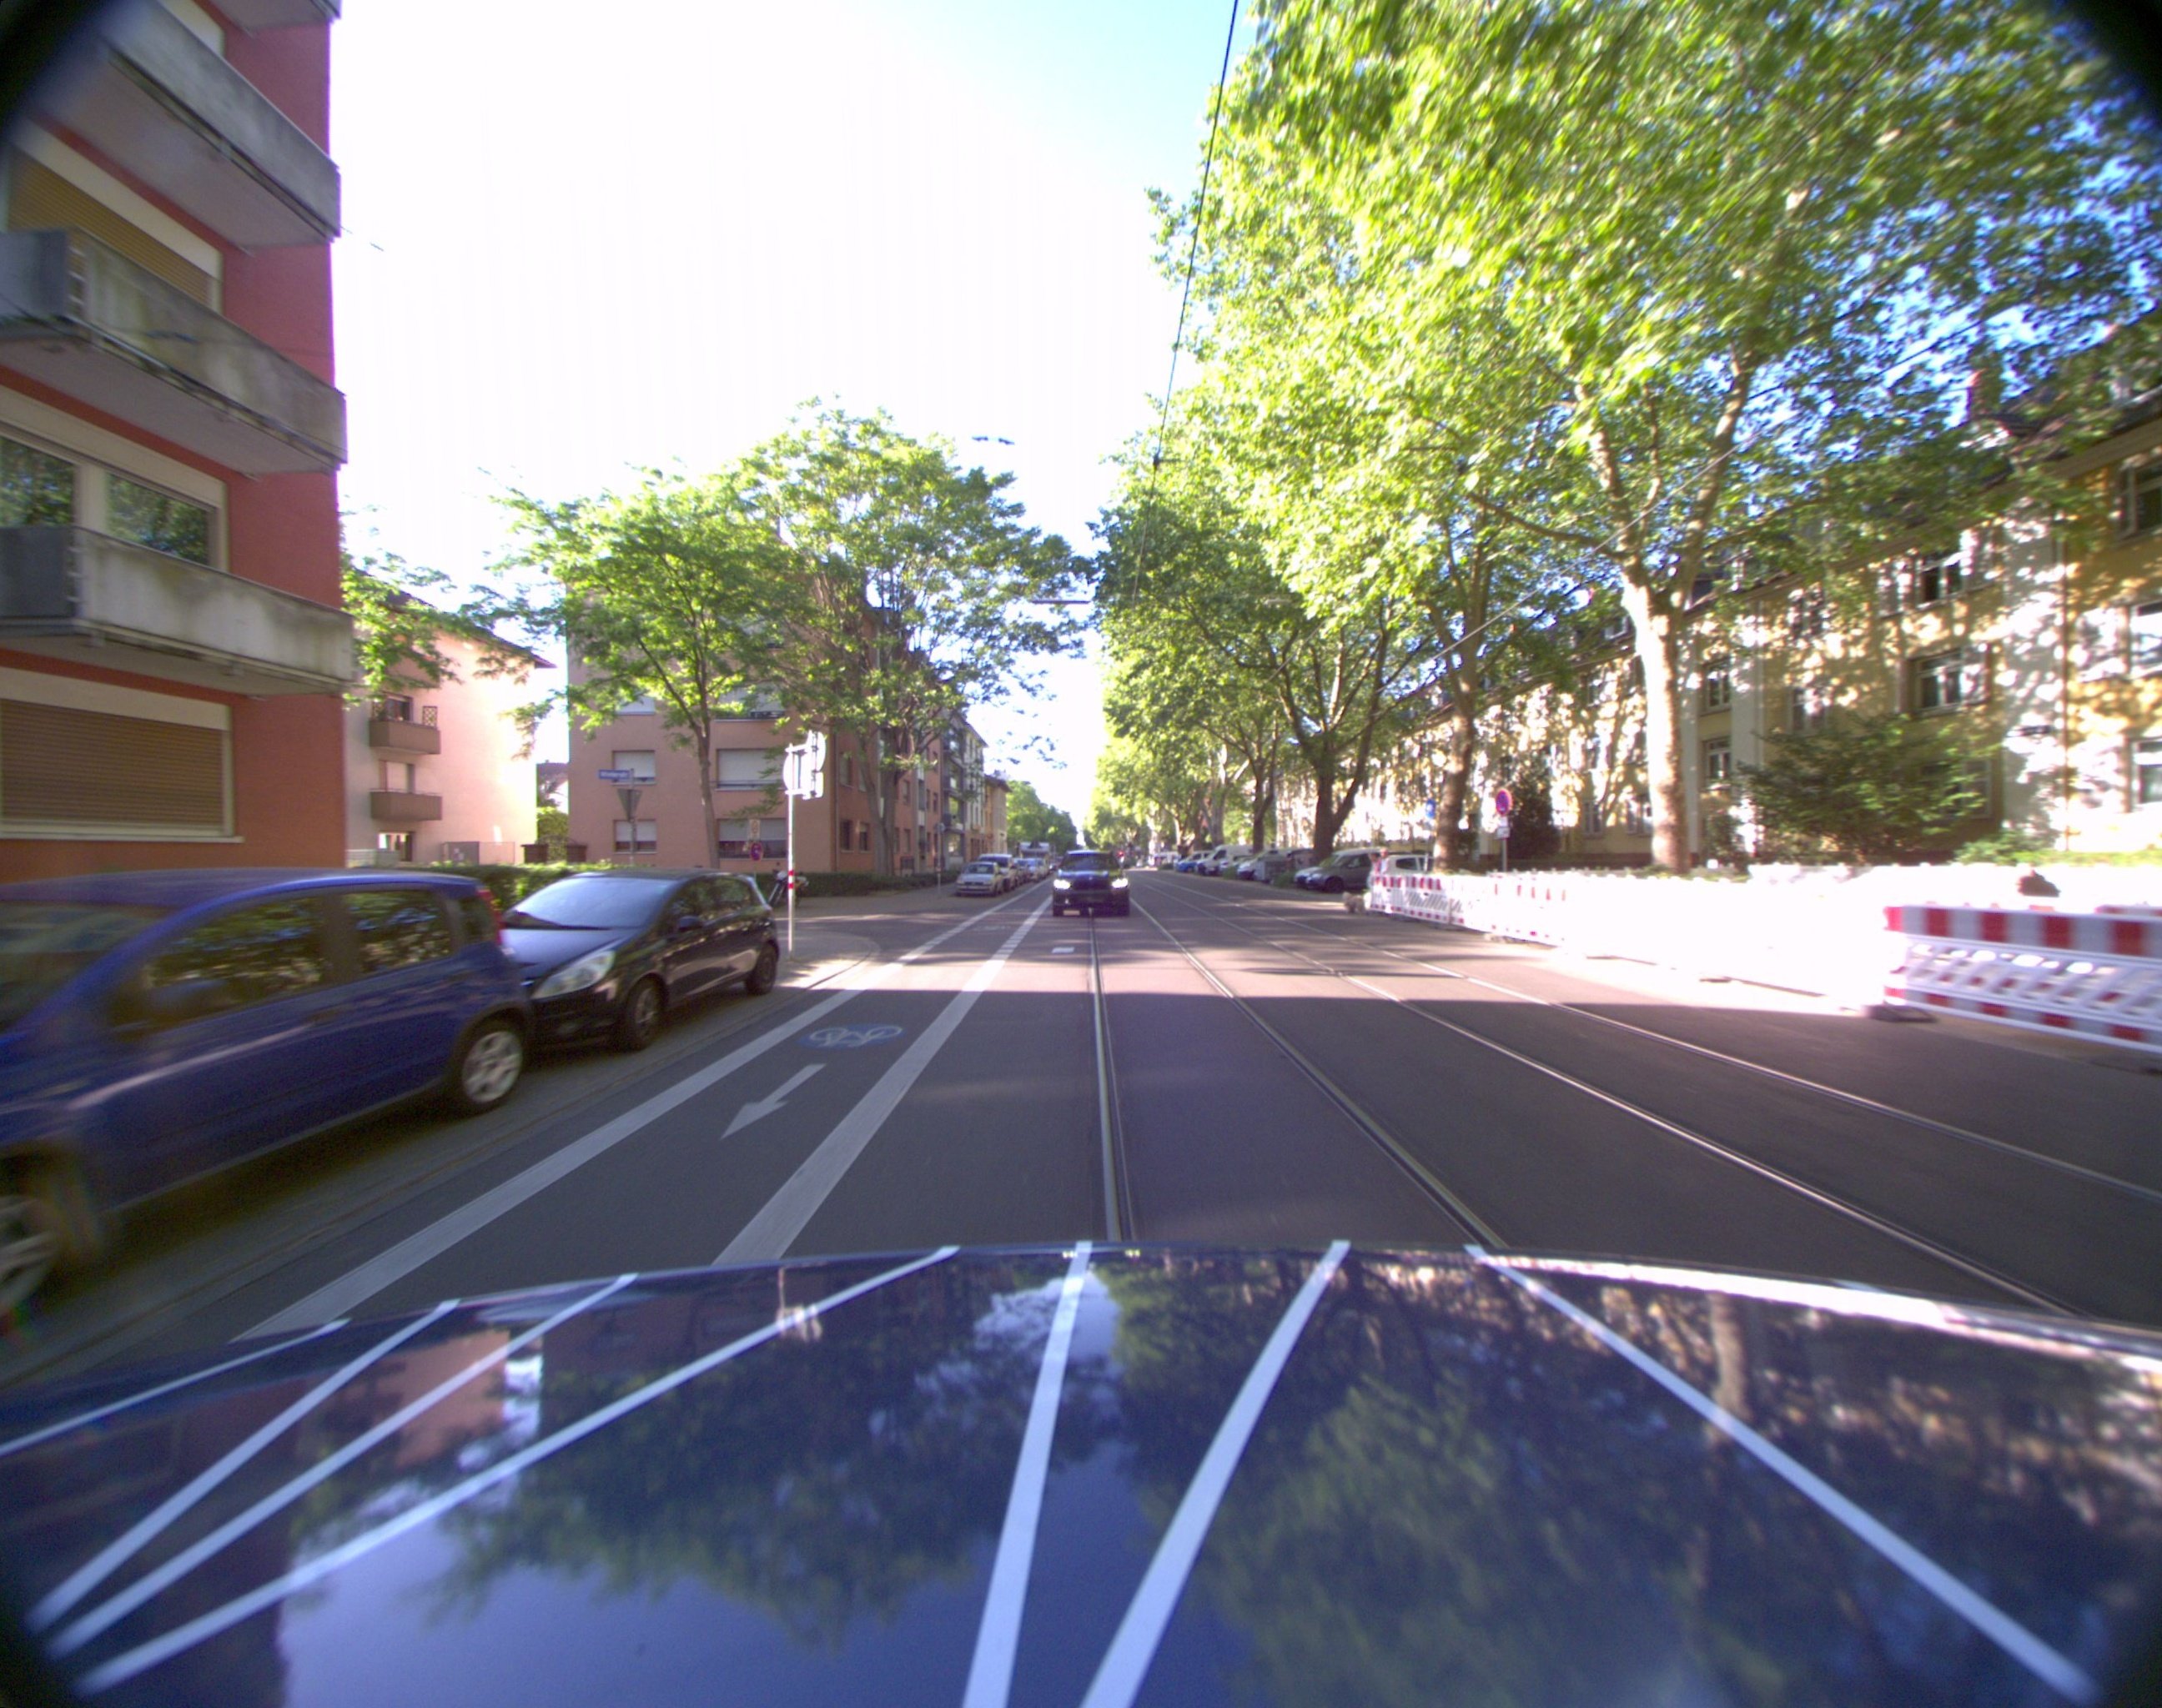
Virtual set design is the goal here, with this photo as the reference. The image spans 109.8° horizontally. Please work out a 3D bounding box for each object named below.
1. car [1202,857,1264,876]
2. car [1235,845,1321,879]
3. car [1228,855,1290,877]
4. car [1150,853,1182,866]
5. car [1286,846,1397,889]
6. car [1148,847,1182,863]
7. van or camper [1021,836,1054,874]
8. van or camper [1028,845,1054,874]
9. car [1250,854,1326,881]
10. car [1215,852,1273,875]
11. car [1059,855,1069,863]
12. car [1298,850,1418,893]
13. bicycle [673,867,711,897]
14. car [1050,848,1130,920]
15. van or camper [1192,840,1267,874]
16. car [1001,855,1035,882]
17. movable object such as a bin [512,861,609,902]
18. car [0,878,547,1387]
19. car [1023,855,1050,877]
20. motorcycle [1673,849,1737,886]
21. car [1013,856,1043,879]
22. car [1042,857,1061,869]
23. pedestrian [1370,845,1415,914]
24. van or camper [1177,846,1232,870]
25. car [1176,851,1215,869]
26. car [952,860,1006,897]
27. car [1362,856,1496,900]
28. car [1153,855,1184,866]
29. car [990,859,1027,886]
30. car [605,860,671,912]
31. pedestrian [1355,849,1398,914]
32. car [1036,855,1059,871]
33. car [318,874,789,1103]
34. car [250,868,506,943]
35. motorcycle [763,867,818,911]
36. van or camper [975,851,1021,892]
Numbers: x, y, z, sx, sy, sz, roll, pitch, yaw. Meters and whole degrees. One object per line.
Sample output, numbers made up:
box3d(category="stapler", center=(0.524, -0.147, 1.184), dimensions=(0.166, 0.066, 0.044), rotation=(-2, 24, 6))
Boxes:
box3d(category="car", center=(11.339, 0.913, 56.886), dimensions=(4.274, 1.390, 1.753), rotation=(0, 0, 1))
box3d(category="car", center=(11.897, 0.494, 46.111), dimensions=(4.669, 1.934, 1.961), rotation=(-1, 0, -2))
box3d(category="car", center=(12.279, 0.839, 52.462), dimensions=(3.857, 1.489, 1.862), rotation=(0, 0, 1))
box3d(category="car", center=(12.559, 0.825, 112.145), dimensions=(4.464, 1.755, 2.028), rotation=(-1, -1, -1))
box3d(category="car", center=(11.240, 0.581, 32.993), dimensions=(4.210, 1.747, 1.739), rotation=(-1, 0, -1))
box3d(category="car", center=(13.078, 0.133, 117.948), dimensions=(5.019, 2.383, 2.028), rotation=(-1, 0, -1))
box3d(category="van or camper", center=(-3.684, 0.119, 65.560), dimensions=(2.468, 3.046, 6.267), rotation=(2, 0, -1))
box3d(category="van or camper", center=(-3.746, 0.509, 71.599), dimensions=(2.138, 2.647, 4.979), rotation=(2, 0, 0))
box3d(category="car", center=(11.765, 0.741, 43.405), dimensions=(3.857, 1.489, 1.862), rotation=(0, 0, 1))
box3d(category="car", center=(11.706, 0.671, 54.758), dimensions=(3.857, 1.653, 1.862), rotation=(0, 0, 1))
box3d(category="car", center=(-3.414, 1.004, 154.717), dimensions=(1.815, 1.701, 4.372), rotation=(2, 0, 0))
box3d(category="car", center=(11.110, 0.677, 30.729), dimensions=(4.242, 1.678, 1.934), rotation=(0, 0, 8))
box3d(category="bicycle", center=(-15.304, 1.075, 29.913), dimensions=(0.513, 1.093, 1.775), rotation=(-1, 1, 1))
box3d(category="car", center=(0.238, 0.731, 21.095), dimensions=(1.924, 1.741, 4.806), rotation=(-1, 0, 0))
box3d(category="van or camper", center=(11.590, 0.222, 59.502), dimensions=(5.403, 2.501, 2.445), rotation=(-1, 0, 0))
box3d(category="car", center=(-3.982, 0.898, 48.439), dimensions=(1.772, 1.563, 4.337), rotation=(2, 0, 0))
box3d(category="movable object such as a bin", center=(-19.089, 0.986, 27.943), dimensions=(2.547, 1.411, 1.377), rotation=(0, 2, -2))
box3d(category="car", center=(-4.368, 0.986, 3.230), dimensions=(1.530, 1.581, 3.751), rotation=(-1, 1, -1))
box3d(category="car", center=(-3.428, 0.908, 59.039), dimensions=(1.797, 1.618, 4.276), rotation=(2, 0, 0))
box3d(category="motorcycle", center=(21.125, 0.448, 25.737), dimensions=(1.714, 1.234, 0.523), rotation=(0, 0, 2))
box3d(category="car", center=(-3.656, 0.904, 53.301), dimensions=(1.793, 1.513, 4.322), rotation=(2, 0, -1))
box3d(category="car", center=(-3.346, 1.029, 87.713), dimensions=(1.998, 1.372, 4.739), rotation=(2, 0, 0))
box3d(category="pedestrian", center=(8.116, 0.647, 19.834), dimensions=(0.824, 1.735, 0.796), rotation=(-1, 1, 1))
box3d(category="van or camper", center=(11.692, 0.406, 72.169), dimensions=(4.832, 2.177, 2.119), rotation=(-1, 0, 0))
box3d(category="car", center=(11.833, 0.580, 78.567), dimensions=(3.691, 1.804, 1.704), rotation=(-1, 0, 0))
box3d(category="car", center=(-4.224, 0.983, 32.056), dimensions=(1.710, 1.464, 4.000), rotation=(0, 0, 1))
box3d(category="car", center=(12.102, 0.805, 26.594), dimensions=(3.857, 1.489, 1.862), rotation=(0, 0, 1))
box3d(category="car", center=(12.614, 0.925, 109.478), dimensions=(4.171, 1.506, 1.925), rotation=(-1, -1, -1))
box3d(category="car", center=(-4.084, 1.025, 43.330), dimensions=(1.710, 1.464, 4.168), rotation=(0, 0, 1))
box3d(category="car", center=(-14.718, 0.979, 25.182), dimensions=(1.730, 1.531, 3.990), rotation=(-1, 0, -32))
box3d(category="pedestrian", center=(8.072, 0.734, 20.780), dimensions=(0.824, 1.735, 0.796), rotation=(-1, 1, 1))
box3d(category="car", center=(-3.463, 0.902, 78.704), dimensions=(1.998, 1.485, 4.740), rotation=(2, 0, 1))
box3d(category="car", center=(-4.436, 0.996, 7.263), dimensions=(1.738, 1.453, 3.916), rotation=(2, 0, 0))
box3d(category="car", center=(-14.709, 1.072, 16.043), dimensions=(3.923, 1.473, 1.562), rotation=(0, -2, 0))
box3d(category="motorcycle", center=(-9.220, 1.084, 24.221), dimensions=(0.679, 1.290, 2.258), rotation=(0, 1, 7))
box3d(category="van or camper", center=(-4.002, 0.817, 37.422), dimensions=(1.759, 1.853, 4.830), rotation=(0, 0, 0))
